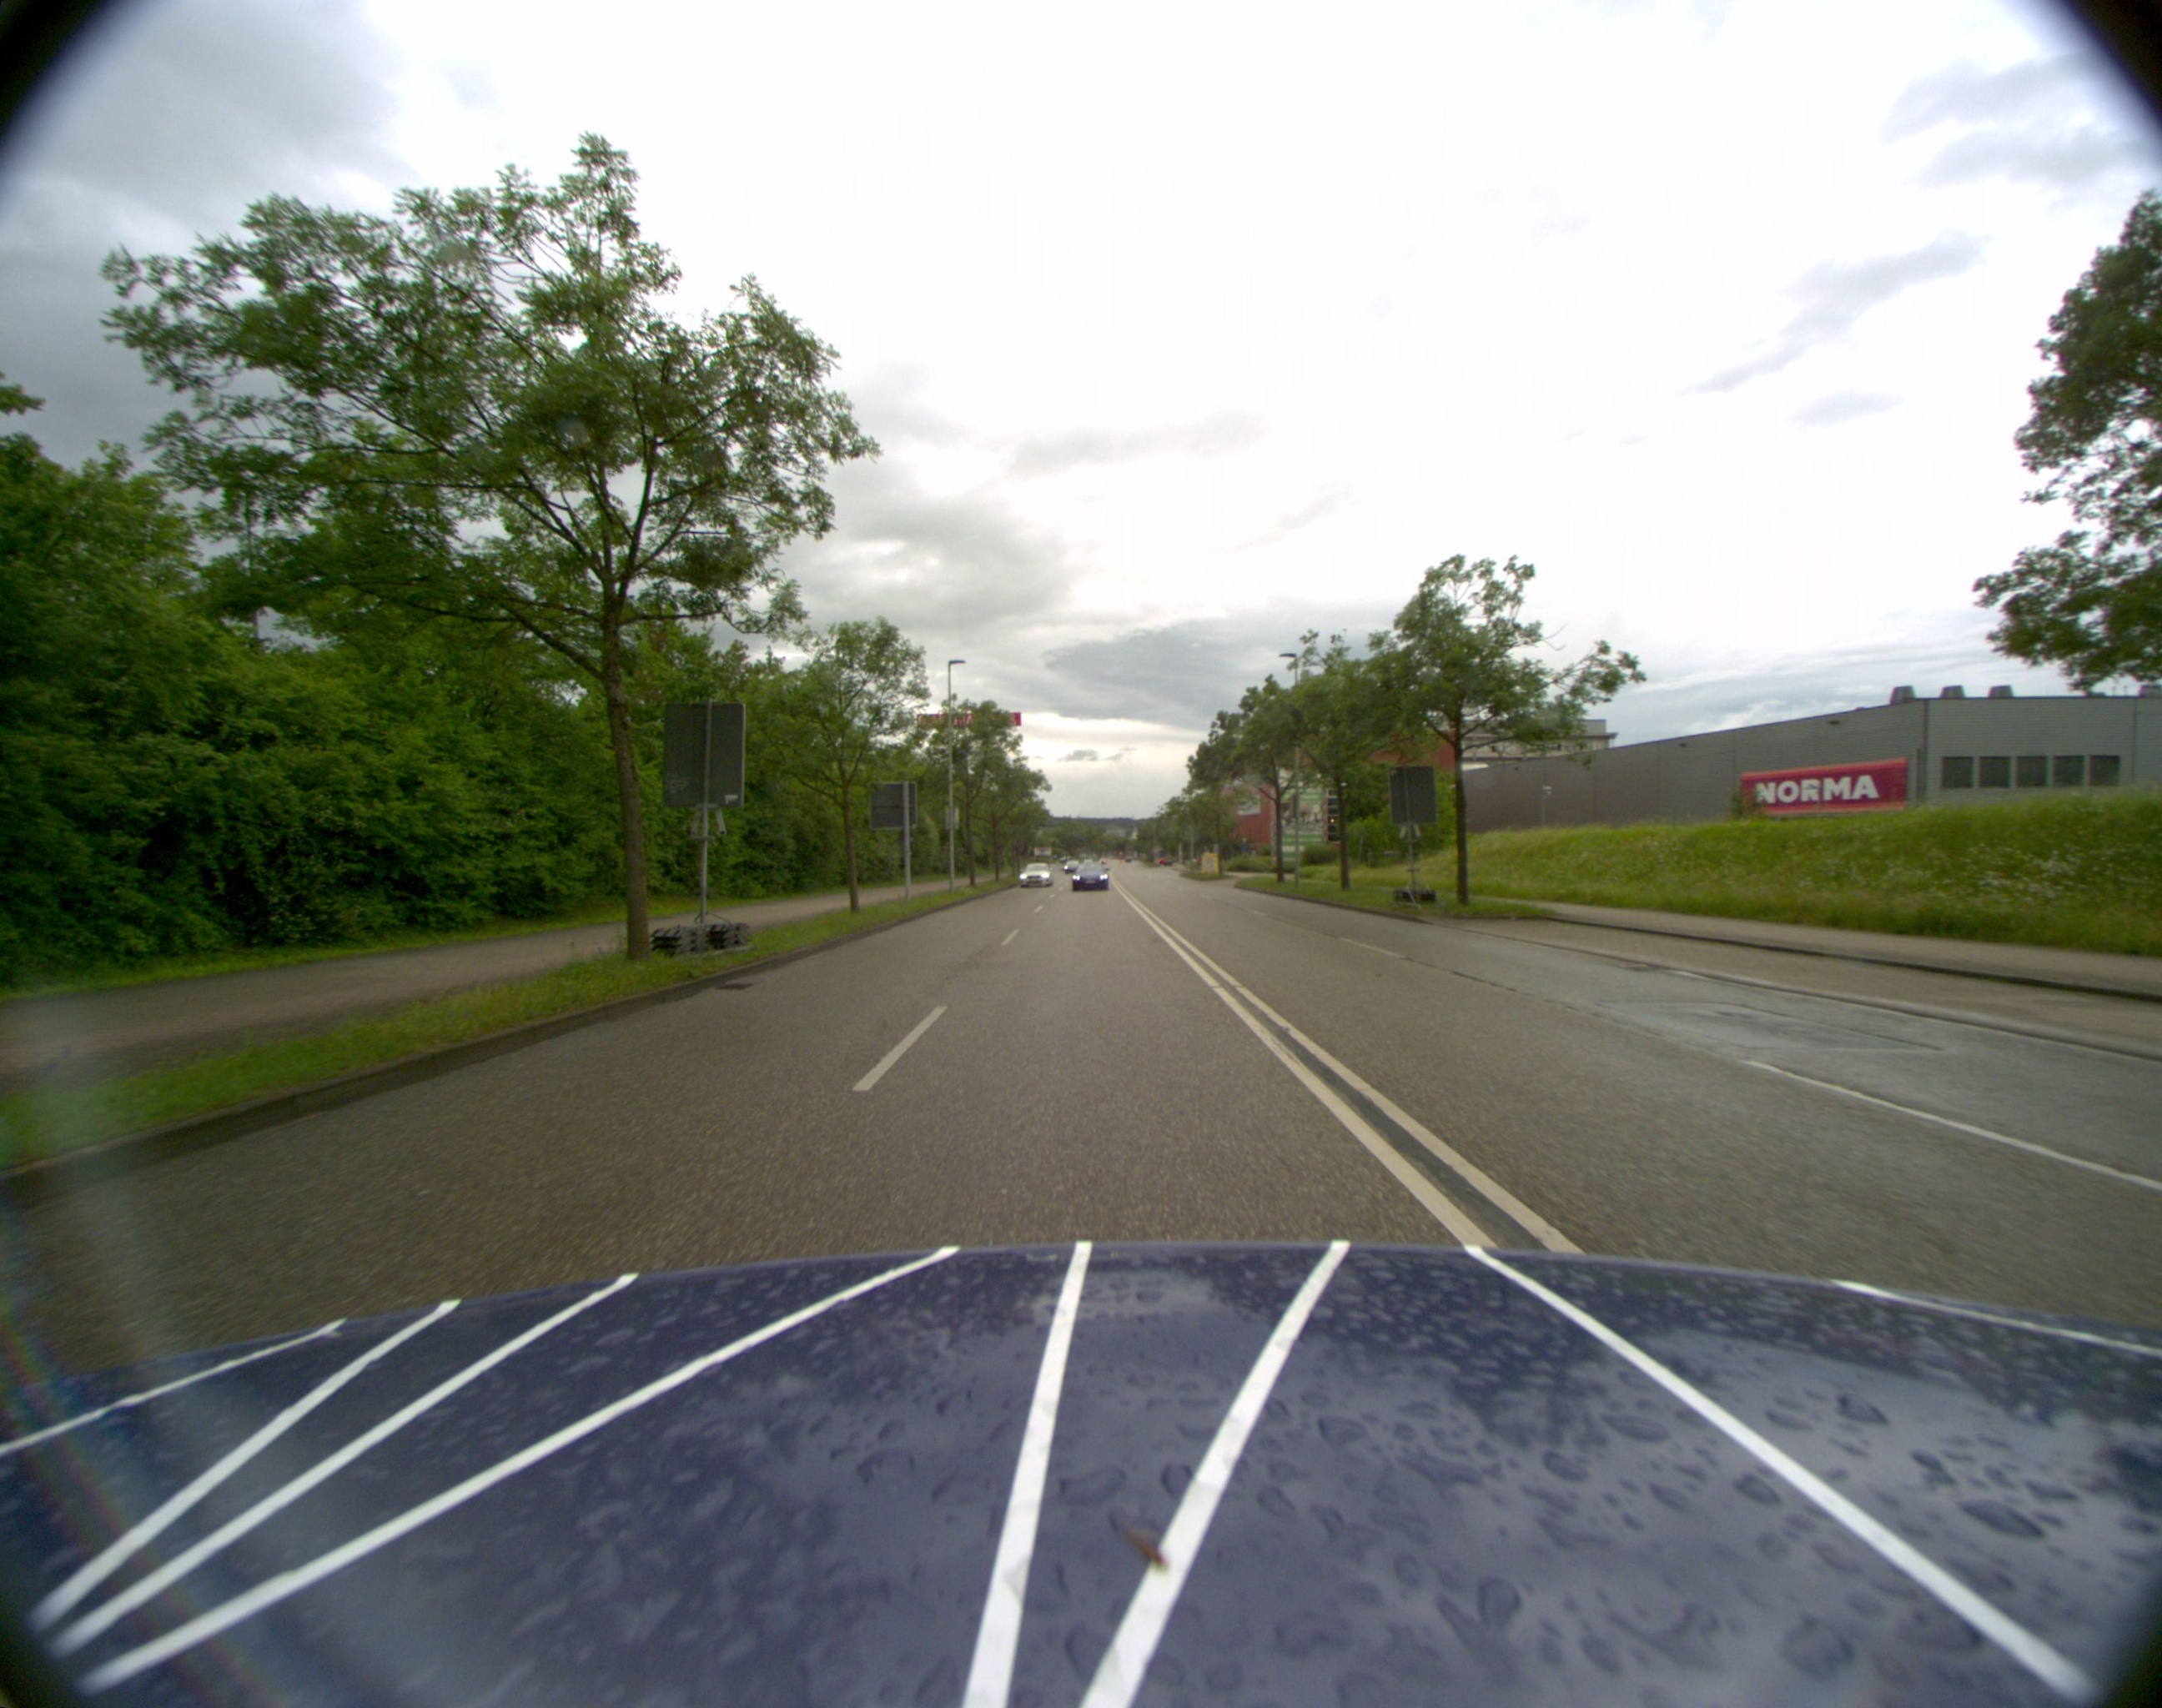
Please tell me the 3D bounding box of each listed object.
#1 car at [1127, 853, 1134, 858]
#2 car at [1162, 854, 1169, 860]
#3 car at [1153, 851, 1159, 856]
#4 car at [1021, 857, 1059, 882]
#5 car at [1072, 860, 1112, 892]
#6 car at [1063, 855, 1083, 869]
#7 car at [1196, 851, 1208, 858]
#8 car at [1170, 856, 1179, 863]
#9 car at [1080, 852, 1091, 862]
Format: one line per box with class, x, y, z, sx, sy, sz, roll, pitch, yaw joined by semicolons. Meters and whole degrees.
car;14.672;0.493;226.450;1.863;1.568;4.321;1;0;3
car;21.219;0.670;191.679;1.679;1.497;4.218;0;0;6
car;26.129;-0.292;263.763;1.831;1.608;4.002;-2;0;9
car;-2.553;0.941;48.338;1.863;1.473;4.001;-1;0;5
car;0.602;1.057;38.841;1.827;1.473;4.841;-2;0;3
car;-0.891;0.937;92.059;2.113;1.610;4.841;-1;0;3
car;29.302;0.134;184.341;1.833;1.608;4.437;0;0;-4
car;19.810;1.198;161.054;1.740;1.445;4.002;1;0;6
car;0.778;0.543;129.635;1.853;1.565;3.999;-2;1;0
